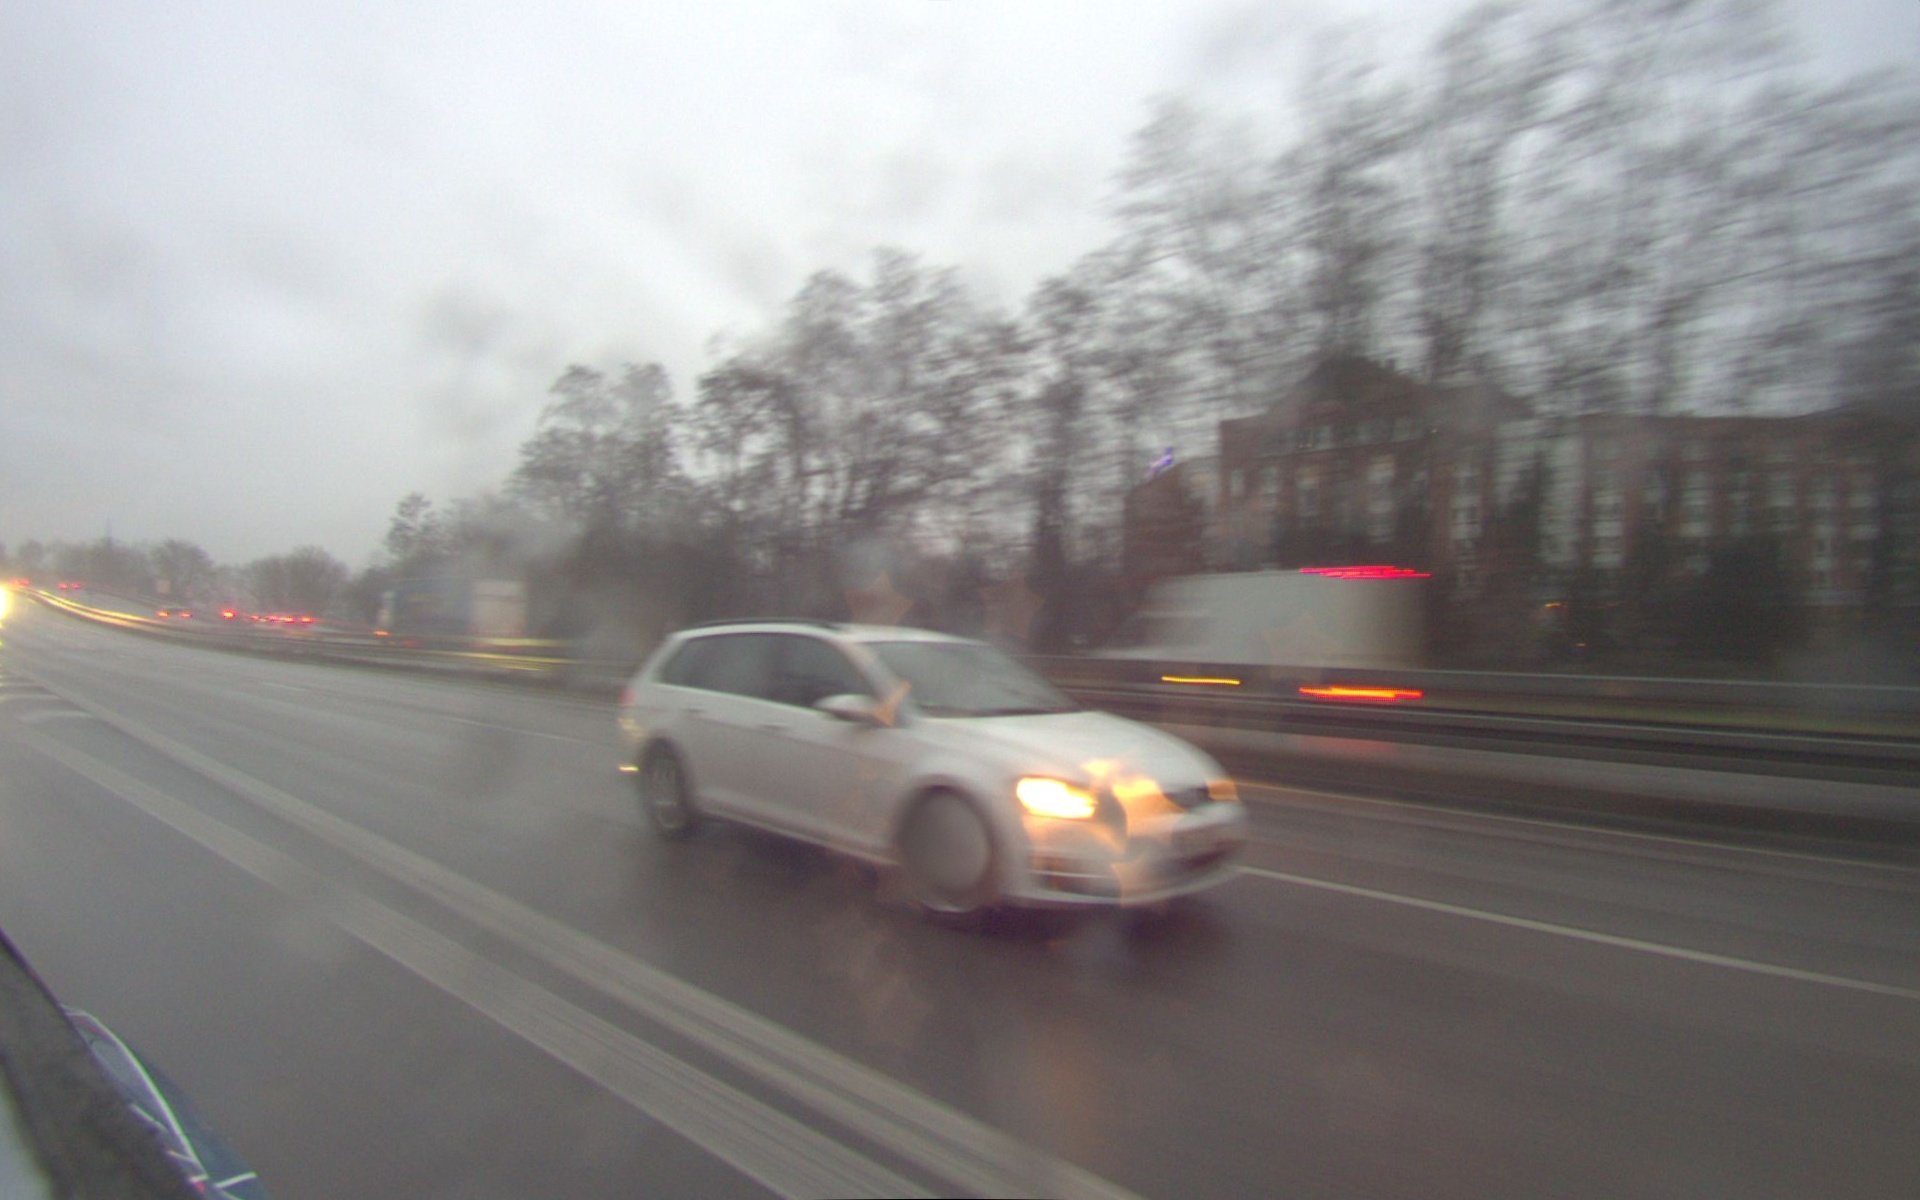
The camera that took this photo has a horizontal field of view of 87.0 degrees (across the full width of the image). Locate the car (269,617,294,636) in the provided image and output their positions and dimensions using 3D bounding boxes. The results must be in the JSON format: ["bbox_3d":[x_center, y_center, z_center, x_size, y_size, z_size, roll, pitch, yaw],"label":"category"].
[{"bbox_3d":[-73.593,2.863,109.773,1.967,2.029,4.009,-1,0,-37],"label":"car"}]

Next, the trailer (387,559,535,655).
[{"bbox_3d":[-28.521,0.400,57.304,3.449,4.884,13.488,-1,0,-44],"label":"trailer"}]

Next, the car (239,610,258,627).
[{"bbox_3d":[-87.892,2.316,124.925,1.887,2.029,4.010,0,-1,-36],"label":"car"}]

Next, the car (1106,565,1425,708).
[{"bbox_3d":[6.595,0.719,22.529,6.340,2.751,2.500,-1,0,43],"label":"car"}]

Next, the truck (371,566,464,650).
[{"bbox_3d":[-33.550,0.469,62.492,3.449,4.884,6.035,-1,0,-45],"label":"truck"}]

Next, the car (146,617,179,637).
[{"bbox_3d":[-66.689,2.238,84.613,1.681,1.576,4.044,0,-1,-45],"label":"car"}]

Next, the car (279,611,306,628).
[{"bbox_3d":[-63.288,1.879,95.962,1.441,1.576,3.653,1,-1,-45],"label":"car"}]

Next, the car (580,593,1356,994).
[{"bbox_3d":[-0.309,0.812,6.262,4.788,1.532,1.926,-1,-3,44],"label":"car"}]
